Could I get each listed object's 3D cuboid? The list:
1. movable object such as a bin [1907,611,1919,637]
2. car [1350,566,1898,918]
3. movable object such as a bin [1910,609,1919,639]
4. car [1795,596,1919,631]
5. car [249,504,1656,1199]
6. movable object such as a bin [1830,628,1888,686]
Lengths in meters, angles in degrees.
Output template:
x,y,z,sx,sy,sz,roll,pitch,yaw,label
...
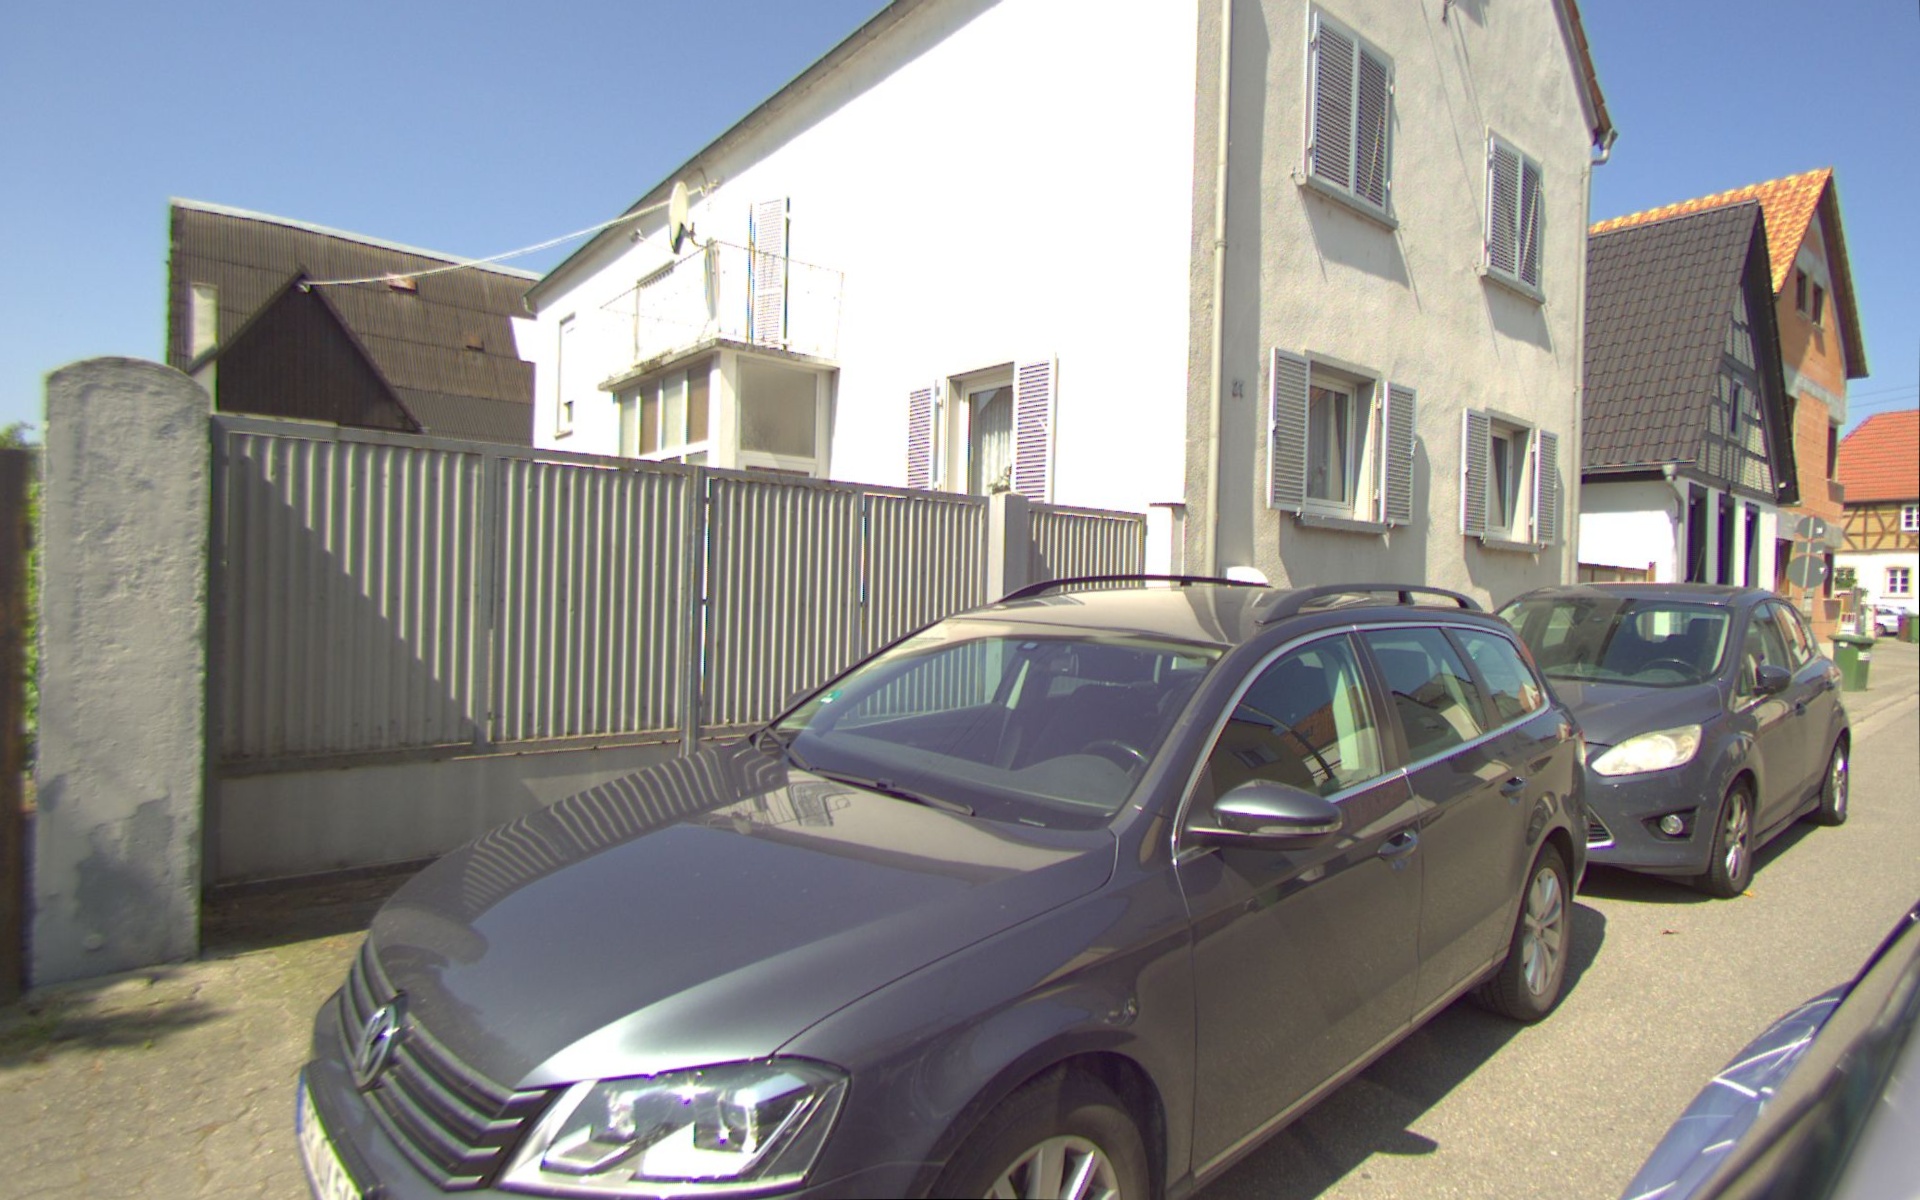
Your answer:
x,y,z,sx,sy,sz,roll,pitch,yaw,label
36.216,0.916,38.278,0.486,0.983,0.466,1,0,-33,movable object such as a bin
4.609,0.619,6.711,4.549,1.579,1.801,0,1,-40,car
35.490,0.885,37.067,0.751,1.085,0.669,1,0,17,movable object such as a bin
43.095,0.598,48.195,1.960,1.470,4.774,1,1,-29,car
0.541,0.637,3.294,4.502,1.527,1.822,0,1,-42,car
15.088,0.943,16.994,0.540,0.925,0.541,1,1,-23,movable object such as a bin
